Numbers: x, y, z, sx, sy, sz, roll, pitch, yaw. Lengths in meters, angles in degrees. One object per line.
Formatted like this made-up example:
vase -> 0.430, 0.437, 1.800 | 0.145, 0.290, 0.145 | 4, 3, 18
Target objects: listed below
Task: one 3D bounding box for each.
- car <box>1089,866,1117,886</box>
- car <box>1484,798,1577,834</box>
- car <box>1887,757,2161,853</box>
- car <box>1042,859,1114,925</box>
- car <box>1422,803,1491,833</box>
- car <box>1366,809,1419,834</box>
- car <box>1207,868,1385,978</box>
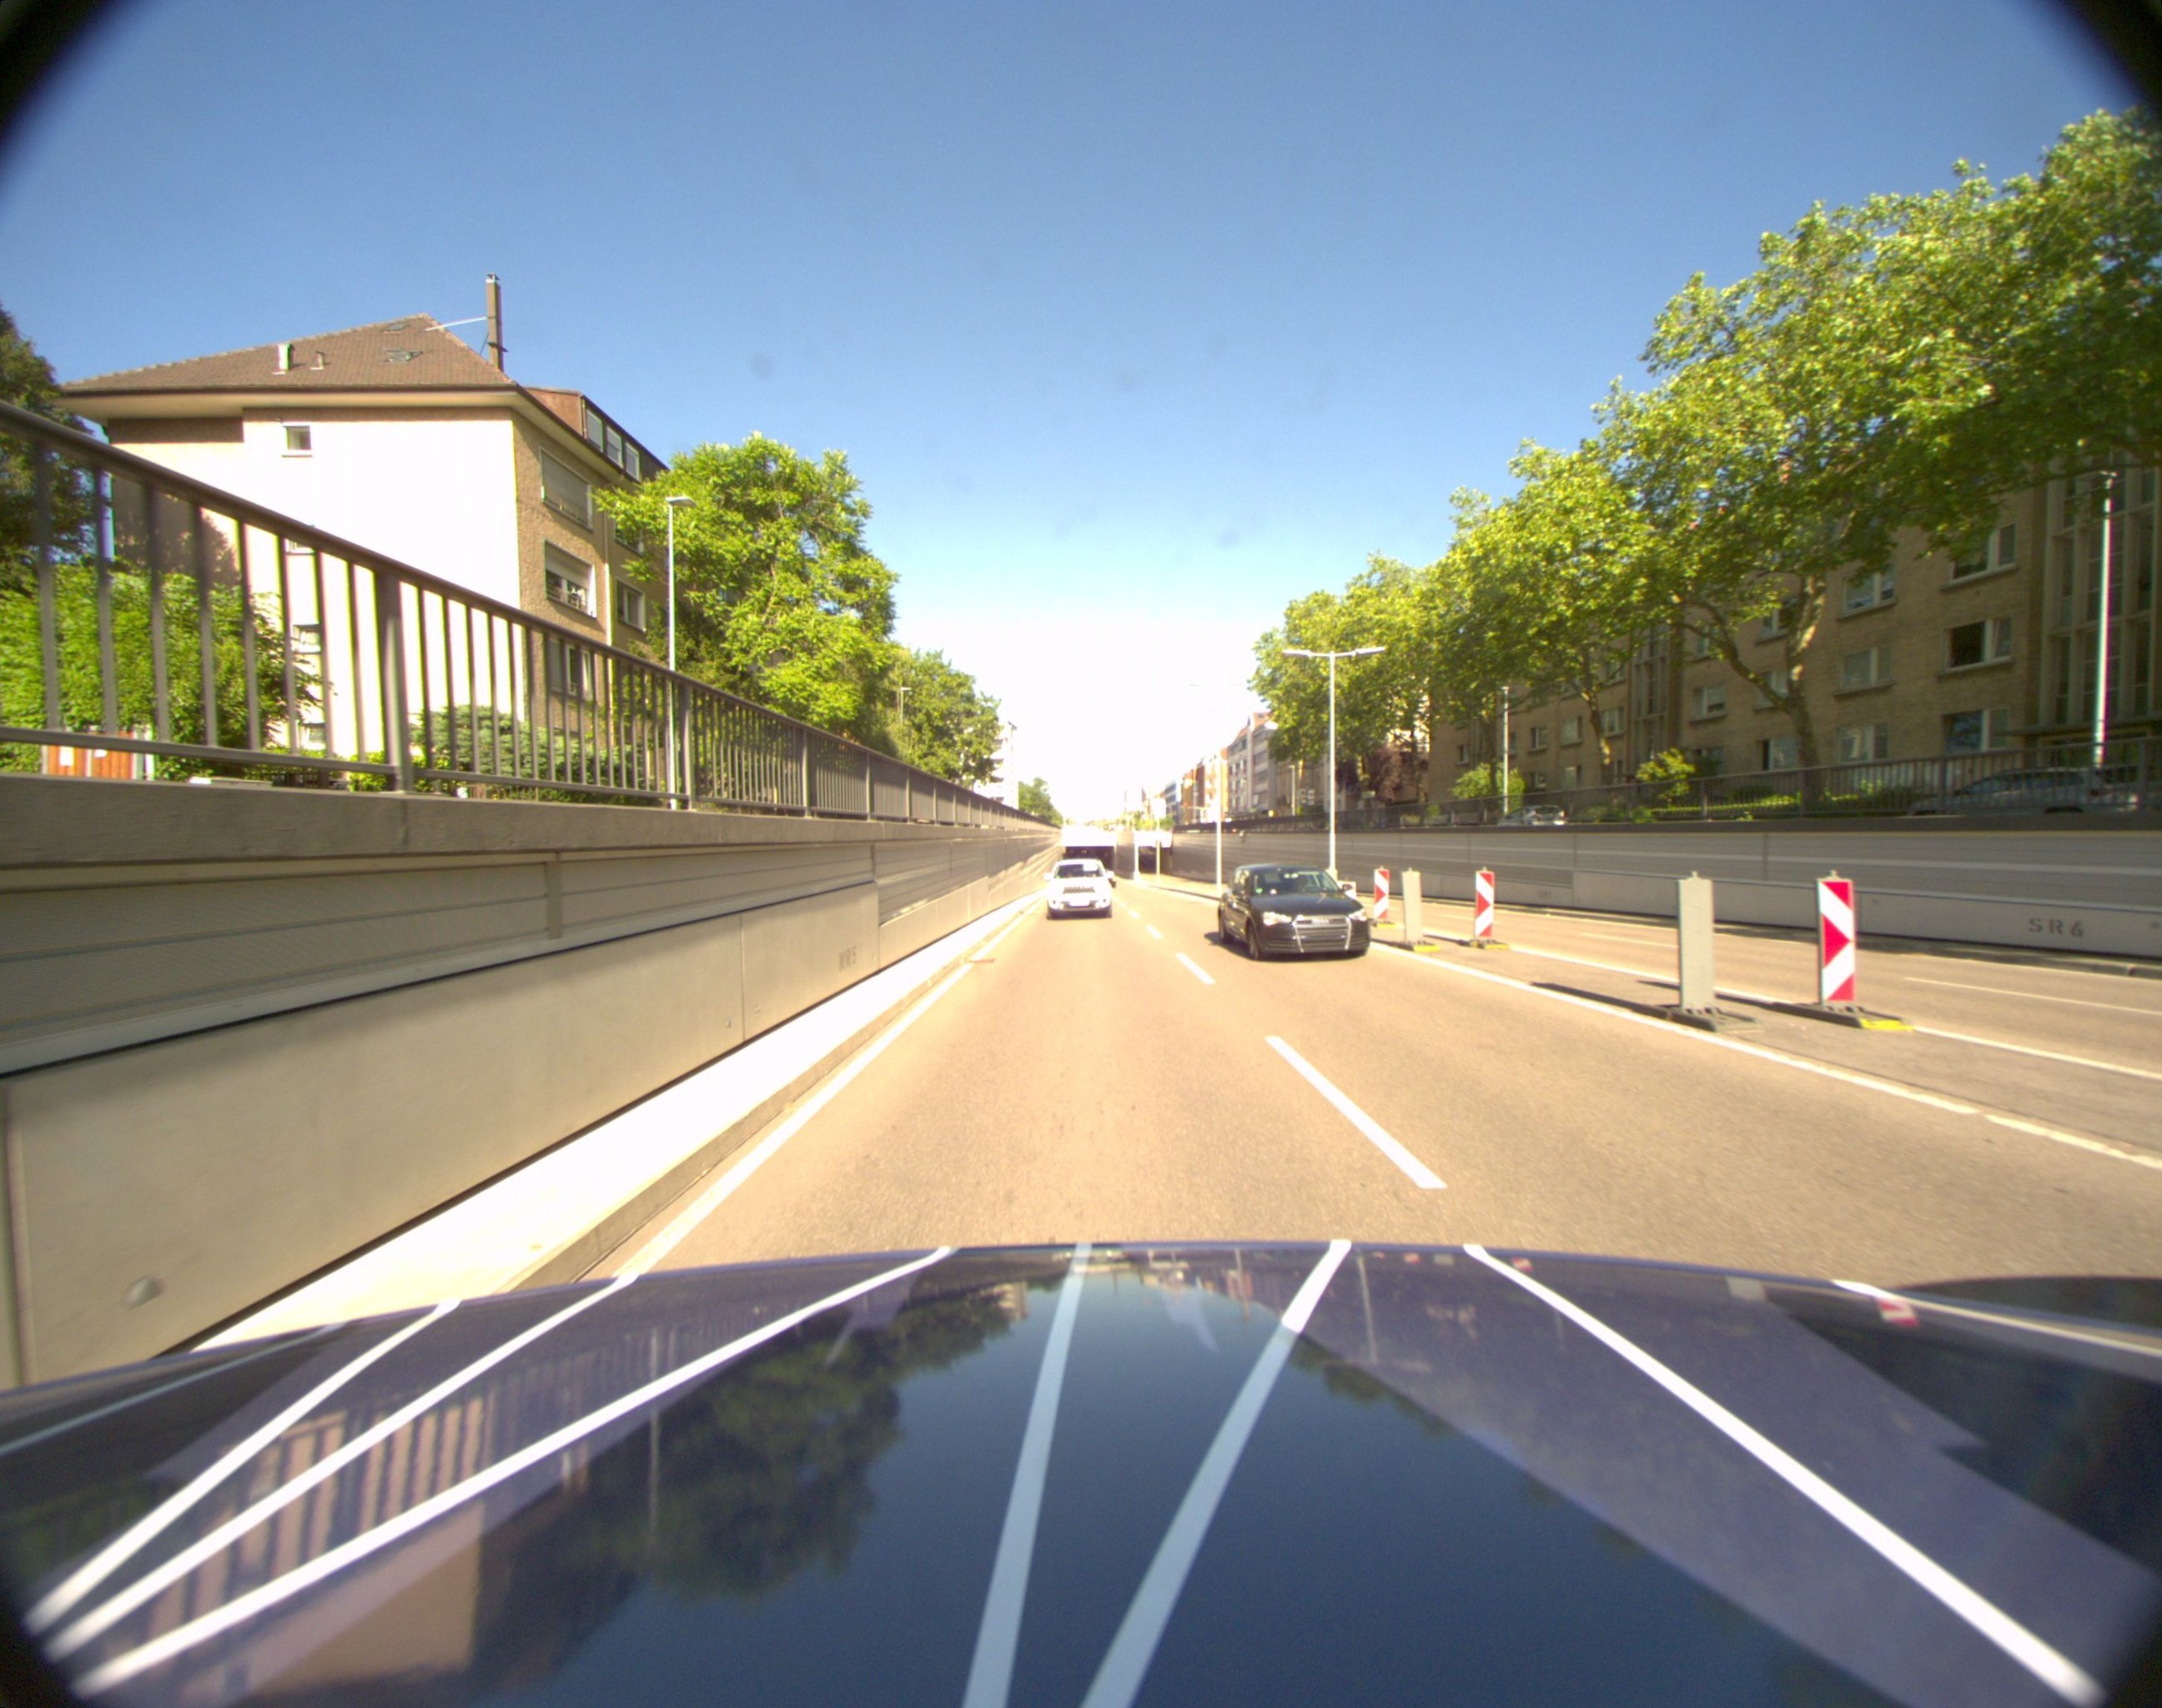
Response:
car -> 1.657, 1.659, 58.513 | 1.998, 1.407, 4.000 | -2, 0, 0
car -> 22.186, -1.832, 37.686 | 1.926, 1.575, 4.302 | -2, 1, -2
car -> 22.413, -1.076, 17.989 | 1.970, 1.949, 4.413 | -2, 1, 0
car -> -0.070, 1.033, 22.283 | 1.855, 1.658, 3.970 | -2, 0, 0
car -> 22.550, -2.142, 45.821 | 1.926, 1.575, 4.302 | -2, 1, -2
car -> 22.469, -2.322, 55.063 | 1.926, 1.575, 4.302 | -2, 1, -2
car -> 3.257, 0.973, 12.291 | 1.700, 1.410, 3.888 | -2, 0, -1
